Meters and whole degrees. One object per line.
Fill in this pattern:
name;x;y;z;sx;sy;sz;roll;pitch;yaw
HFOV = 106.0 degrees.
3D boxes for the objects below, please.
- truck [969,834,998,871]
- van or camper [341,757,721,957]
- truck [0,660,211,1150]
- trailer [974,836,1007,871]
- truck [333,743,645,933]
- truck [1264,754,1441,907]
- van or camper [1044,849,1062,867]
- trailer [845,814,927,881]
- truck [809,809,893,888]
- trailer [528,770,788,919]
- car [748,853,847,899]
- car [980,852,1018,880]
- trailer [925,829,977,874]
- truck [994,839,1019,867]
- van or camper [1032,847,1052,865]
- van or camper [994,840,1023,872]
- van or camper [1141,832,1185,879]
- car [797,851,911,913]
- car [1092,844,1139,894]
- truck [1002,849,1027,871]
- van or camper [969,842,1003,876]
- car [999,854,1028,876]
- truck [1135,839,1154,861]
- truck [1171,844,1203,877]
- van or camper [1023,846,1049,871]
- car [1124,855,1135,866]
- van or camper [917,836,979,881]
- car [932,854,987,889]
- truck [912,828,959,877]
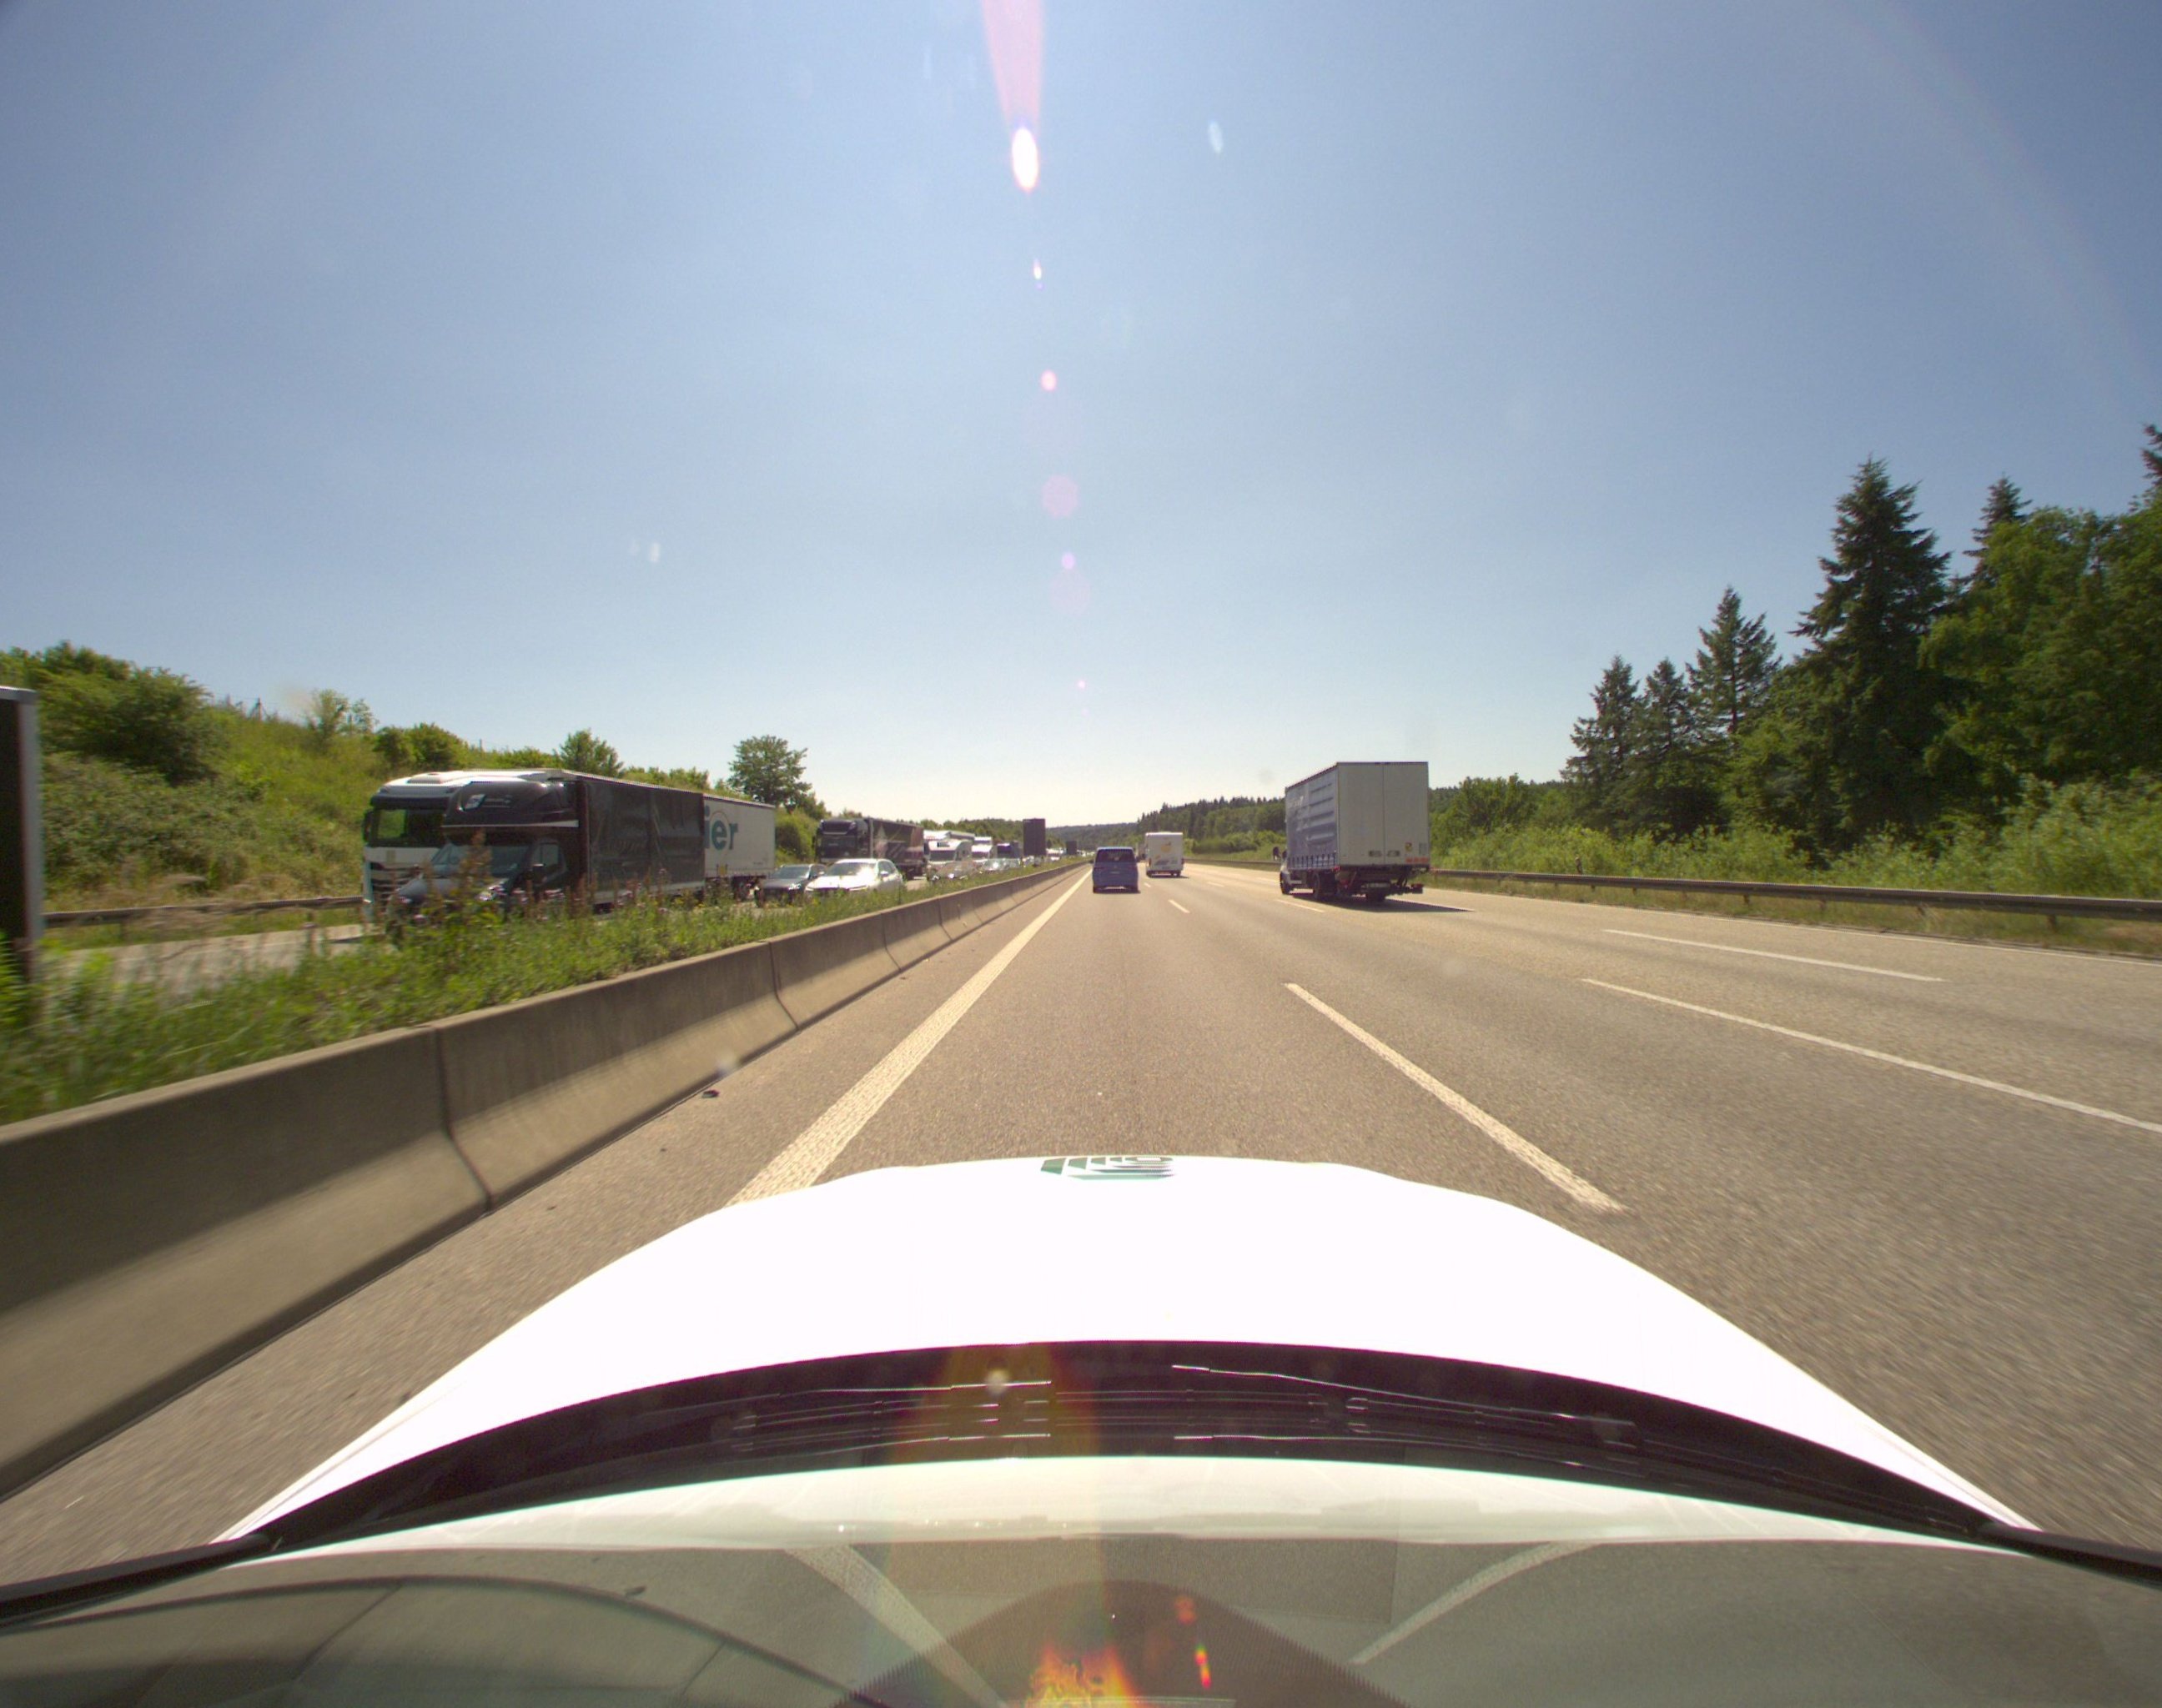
truck;-11.942;-0.129;100.335;2.580;4.326;7.294;0;-1;1
van or camper;-11.039;0.087;17.721;2.519;3.360;7.949;0;-1;3
truck;-7.389;0.280;2.718;2.112;2.842;6.215;0;-1;2
trailer;-11.781;-0.051;106.843;2.602;4.310;12.004;0;-1;1
truck;-14.935;-0.312;21.450;2.770;4.114;7.034;-1;-1;3
truck;8.402;-0.588;26.812;2.773;4.128;9.741;0;-1;1
van or camper;-4.115;0.580;121.132;2.185;2.506;6.059;-1;-1;1
trailer;-13.321;-0.353;56.745;2.779;4.240;10.797;0;-1;2
truck;-13.630;-0.279;48.965;2.771;4.305;7.032;-1;-1;2
trailer;-14.560;-0.235;29.804;2.770;4.305;11.719;-1;-1;3
car;-10.260;0.765;29.870;1.805;1.537;4.831;0;-1;2
car;-5.514;0.780;55.279;1.805;1.809;5.545;0;-1;2
trailer;-12.529;-0.148;79.754;2.770;4.034;12.255;0;-1;2
truck;-11.082;-0.140;122.049;2.564;4.078;9.698;0;-1;2
van or camper;-6.795;0.326;142.510;2.534;2.937;7.834;-1;-1;3
van or camper;-8.130;0.276;92.431;2.304;3.390;7.682;-1;-1;1
van or camper;5.693;0.044;57.228;2.593;3.078;7.185;0;0;2
car;-6.568;0.759;24.153;1.805;1.634;5.032;0;-1;2
car;1.436;0.585;34.562;1.902;2.013;4.001;0;0;1
truck;-7.985;0.757;98.209;2.226;2.506;6.864;-1;-1;1
van or camper;-8.734;0.481;75.525;2.142;2.923;7.227;0;-1;2
car;-5.408;0.893;65.851;1.805;1.730;4.975;0;-1;2
truck;12.685;-0.775;164.385;3.474;4.170;8.645;0;-1;2
truck;12.410;0.719;96.012;2.916;3.575;8.531;-2;1;2
van or camper;-4.721;0.478;86.325;2.185;2.541;6.418;-1;-1;1
car;8.203;1.127;137.710;1.811;1.794;3.896;0;-1;2
van or camper;-9.352;0.342;58.368;2.831;2.948;8.116;0;-1;2
car;-6.010;0.851;40.789;1.805;1.634;5.032;0;-1;2
truck;-12.814;-0.068;72.224;2.790;4.128;6.143;0;-1;2
